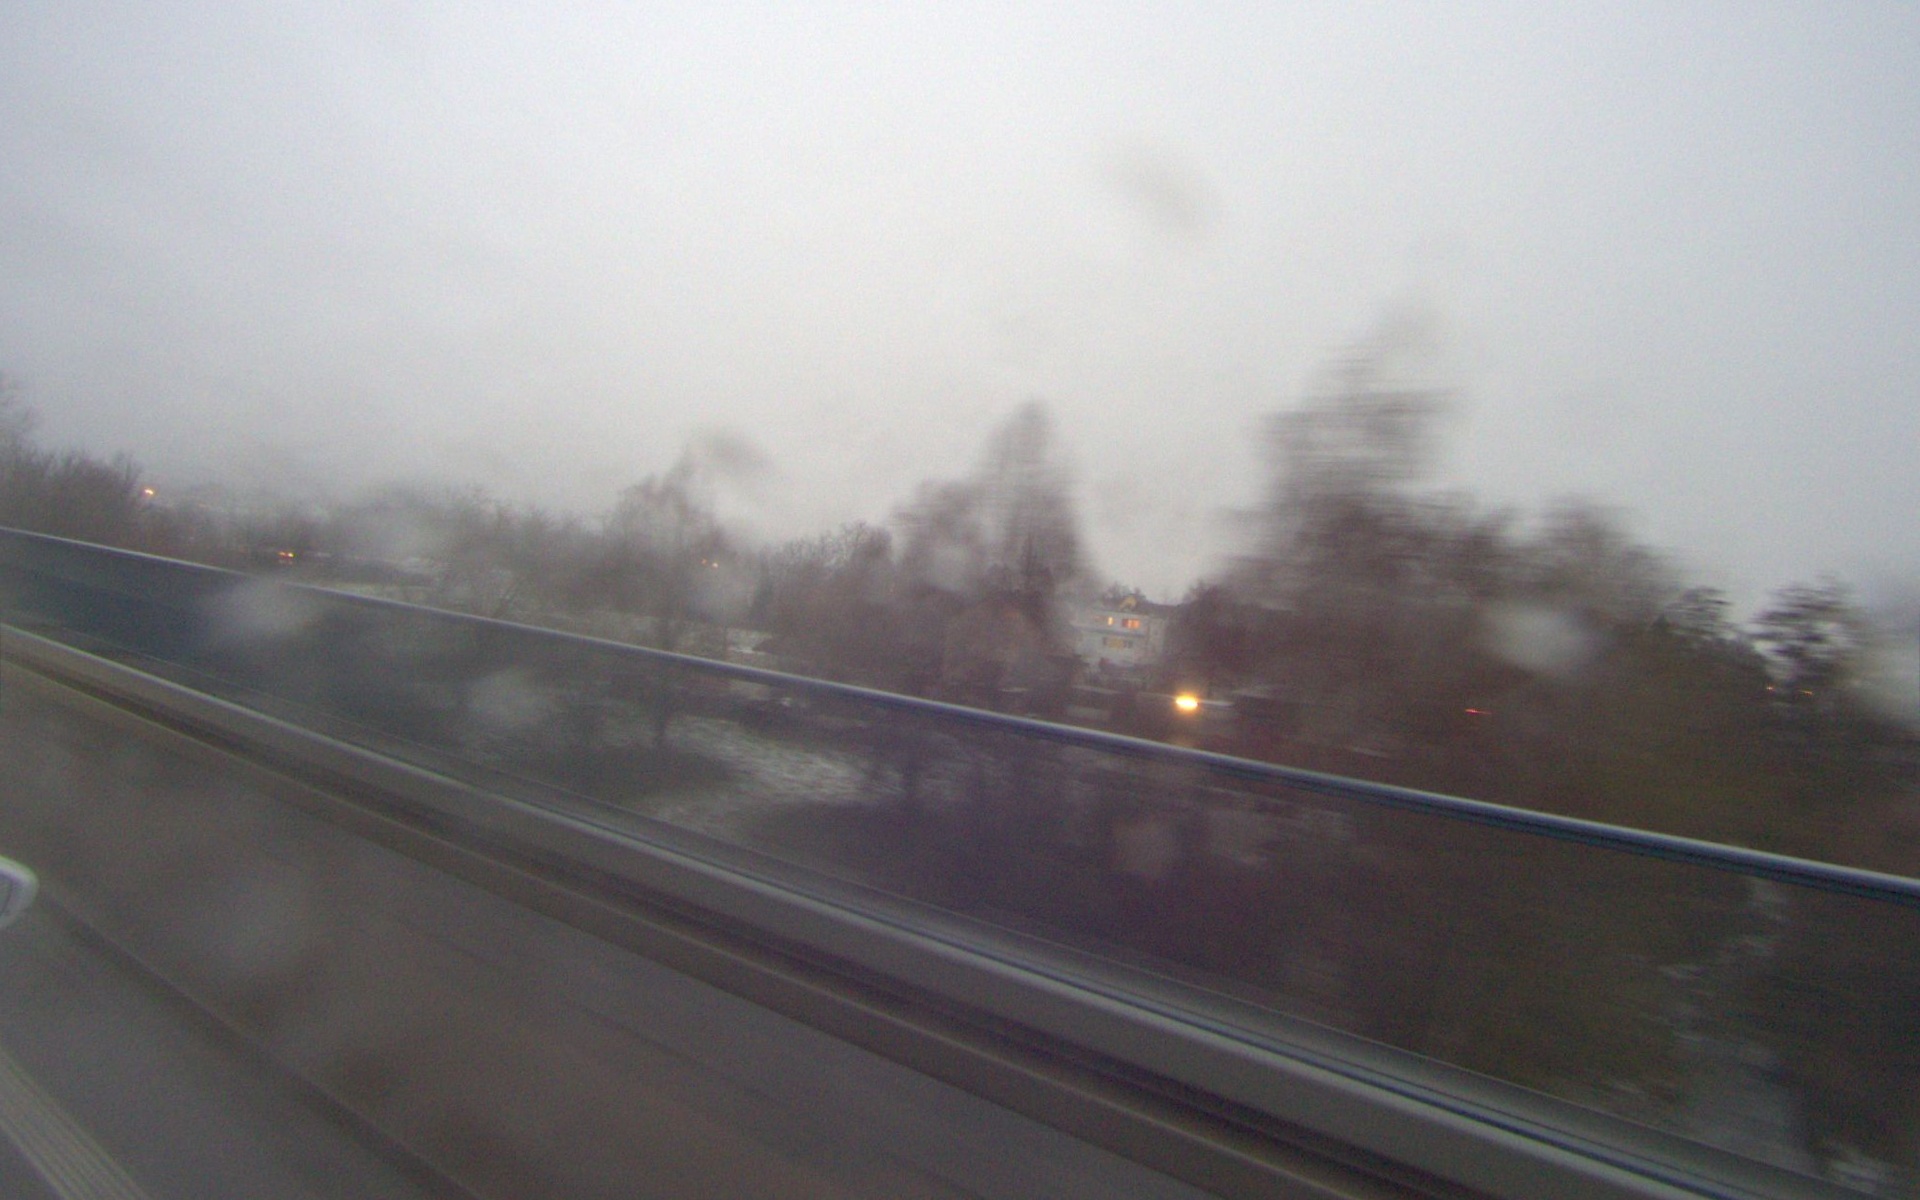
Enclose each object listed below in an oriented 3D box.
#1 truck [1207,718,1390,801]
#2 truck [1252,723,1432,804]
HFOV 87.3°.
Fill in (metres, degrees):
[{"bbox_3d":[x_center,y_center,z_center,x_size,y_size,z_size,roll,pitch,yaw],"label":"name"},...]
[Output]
[{"bbox_3d":[20.534,9.575,61.291,9.978,3.270,2.793,6,-2,29],"label":"truck"},{"bbox_3d":[23.858,10.111,63.105,9.978,3.270,2.793,6,-2,29],"label":"truck"}]
